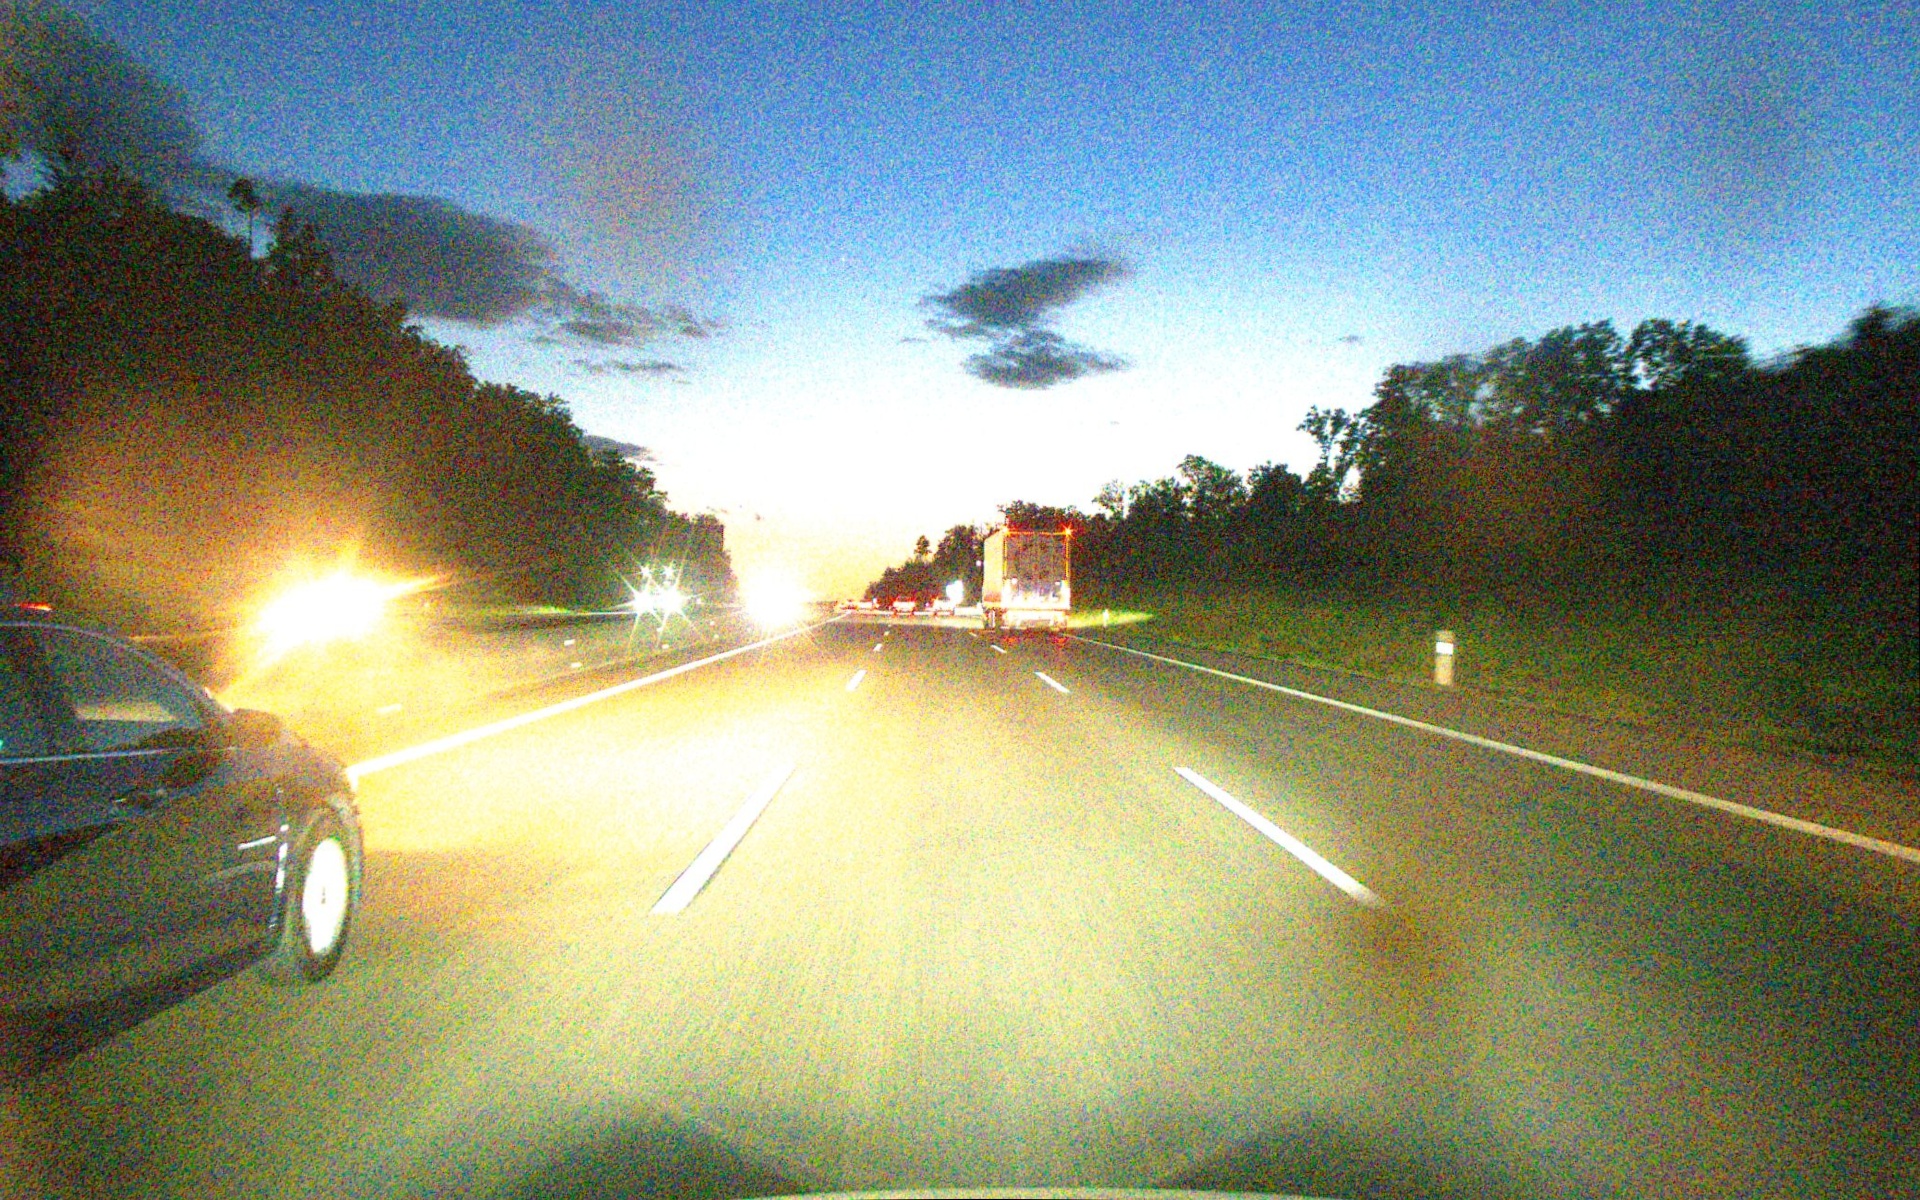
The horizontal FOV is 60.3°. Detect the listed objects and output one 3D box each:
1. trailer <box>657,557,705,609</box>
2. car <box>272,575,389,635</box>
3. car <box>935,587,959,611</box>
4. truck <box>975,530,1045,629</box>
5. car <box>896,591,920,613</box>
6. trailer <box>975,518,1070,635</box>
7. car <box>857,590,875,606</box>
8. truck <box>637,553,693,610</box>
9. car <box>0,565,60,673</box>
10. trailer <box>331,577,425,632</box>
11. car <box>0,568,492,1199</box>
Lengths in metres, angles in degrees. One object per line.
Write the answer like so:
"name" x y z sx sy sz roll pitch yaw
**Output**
"trailer" -23.045 -1.371 137.185 2.803 4.143 8.867 1 0 -3
"car" -19.612 0.137 51.796 1.875 1.777 4.880 1 0 -1
"car" -1.192 -0.075 150.260 1.953 2.154 3.997 1 -1 -3
"truck" 2.234 -0.893 75.787 2.772 4.331 6.260 1 0 -2
"car" -4.501 0.216 143.364 1.953 1.825 3.999 1 -1 -1
"trailer" 2.430 -0.889 70.383 2.772 4.331 17.042 1 0 -2
"car" -10.727 -0.218 188.602 1.953 1.825 3.997 1 -1 -3
"truck" -22.645 -1.356 127.431 2.803 4.143 10.630 1 0 -2
"car" -15.516 0.276 24.164 2.199 1.625 4.885 1 0 -2
"trailer" -19.710 0.130 56.167 1.858 1.777 3.844 1 0 -1
"car" -3.196 0.714 4.884 1.952 1.545 5.651 1 1 1
